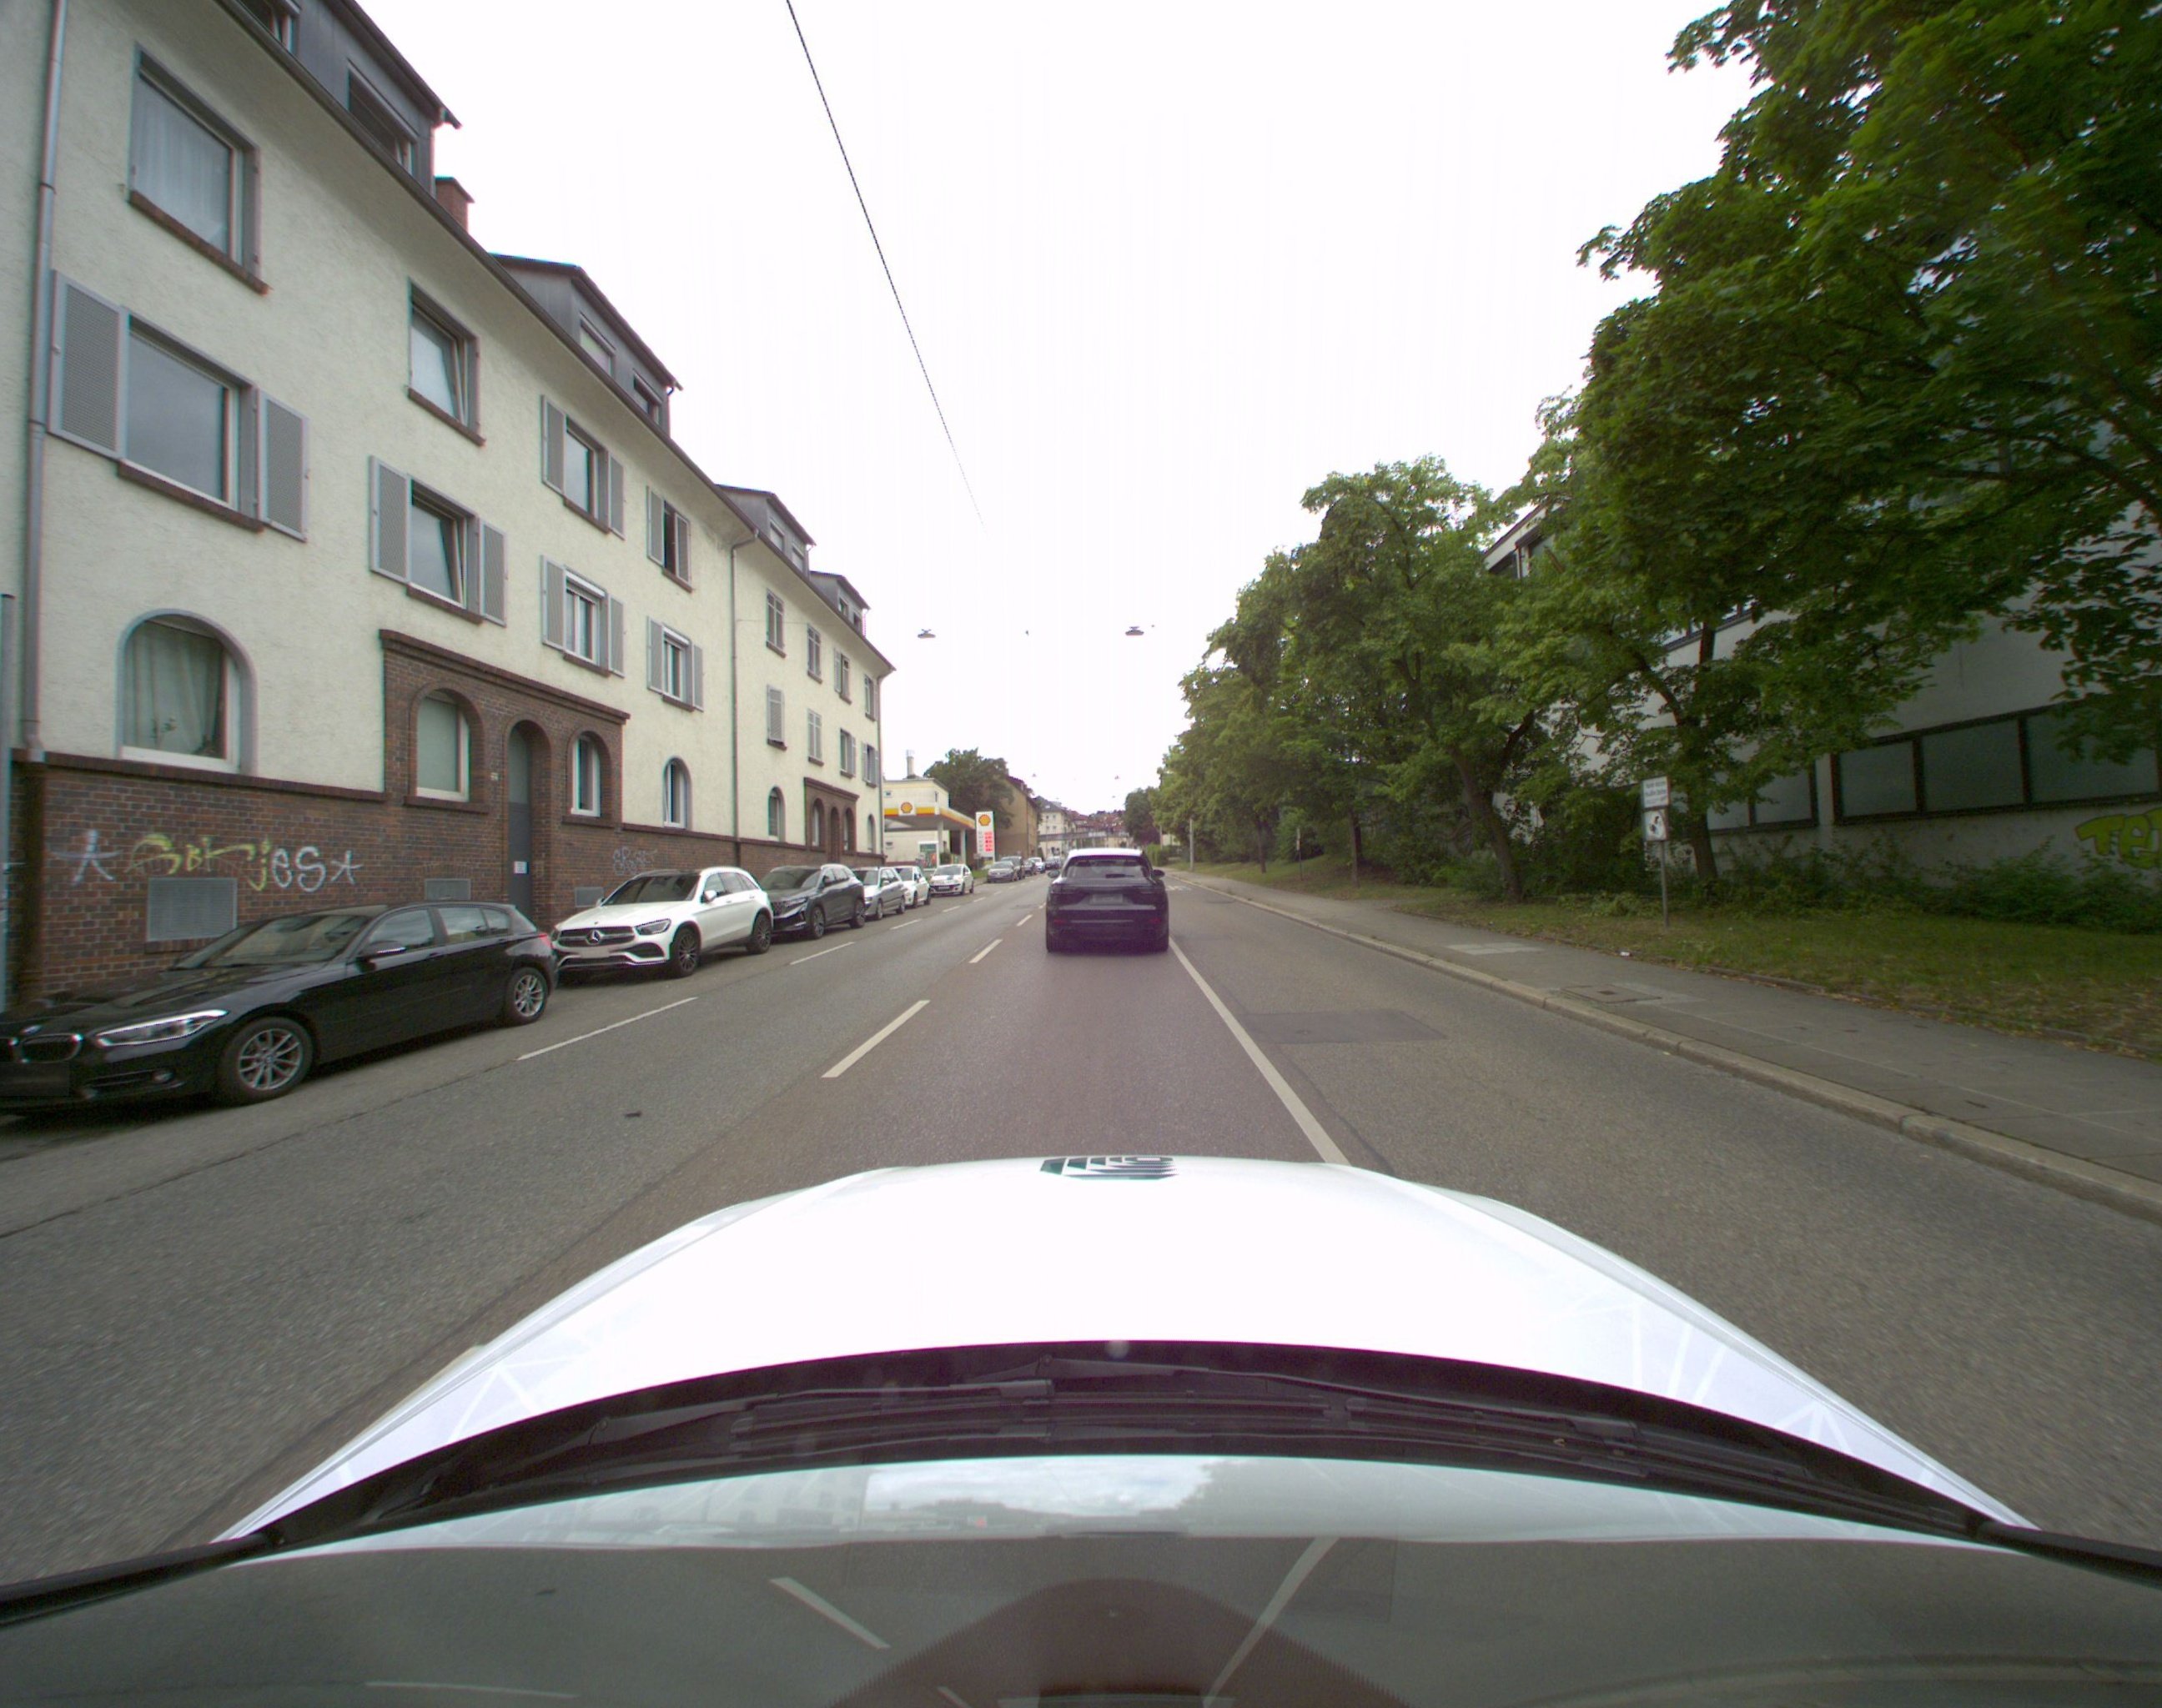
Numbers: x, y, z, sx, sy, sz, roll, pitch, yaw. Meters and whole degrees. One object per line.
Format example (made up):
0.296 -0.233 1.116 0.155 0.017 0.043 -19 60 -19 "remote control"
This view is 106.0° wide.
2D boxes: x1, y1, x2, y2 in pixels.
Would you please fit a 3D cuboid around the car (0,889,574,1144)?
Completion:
-6.846 1.164 7.393 1.721 1.429 4.193 -3 0 1 "car"

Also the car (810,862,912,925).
-6.384 1.093 24.085 1.721 1.558 4.082 -5 0 1 "car"

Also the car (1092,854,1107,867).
2.267 0.770 99.927 1.734 1.400 4.002 -1 0 2 "car"

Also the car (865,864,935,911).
-6.416 1.155 29.185 1.542 1.475 3.605 -3 0 1 "car"

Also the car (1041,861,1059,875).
-3.978 1.779 104.523 1.776 1.609 4.267 -4 0 3 "car"

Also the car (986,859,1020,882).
-5.362 1.096 56.500 1.784 1.450 4.220 -3 0 2 "car"

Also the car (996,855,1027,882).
-5.244 1.088 62.316 1.845 1.835 4.701 -3 0 0 "car"

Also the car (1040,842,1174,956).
0.463 0.669 14.271 1.986 1.662 4.002 -1 0 2 "car"

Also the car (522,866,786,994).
-6.764 1.084 13.619 1.839 1.621 4.644 -3 0 1 "car"

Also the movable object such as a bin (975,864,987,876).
-12.591 2.006 102.492 1.388 1.428 0.913 -1 0 -1 "movable object such as a bin"

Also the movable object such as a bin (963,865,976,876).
-14.016 2.056 102.458 1.388 1.428 0.913 -1 0 -1 "movable object such as a bin"

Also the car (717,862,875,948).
-6.355 1.059 18.762 1.719 1.599 4.506 -3 0 4 "car"

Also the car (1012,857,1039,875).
-4.985 1.069 73.651 1.790 1.431 4.748 -3 0 4 "car"

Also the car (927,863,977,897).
-6.040 1.191 38.490 1.613 1.425 3.667 -3 0 2 "car"

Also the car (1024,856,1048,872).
-4.589 1.006 82.977 1.908 1.577 4.702 -3 0 2 "car"

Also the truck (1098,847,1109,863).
5.228 0.267 189.340 2.258 3.424 9.881 -2 -1 2 "truck"

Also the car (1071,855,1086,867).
-0.321 0.890 107.409 1.791 1.525 4.001 -3 0 2 "car"
